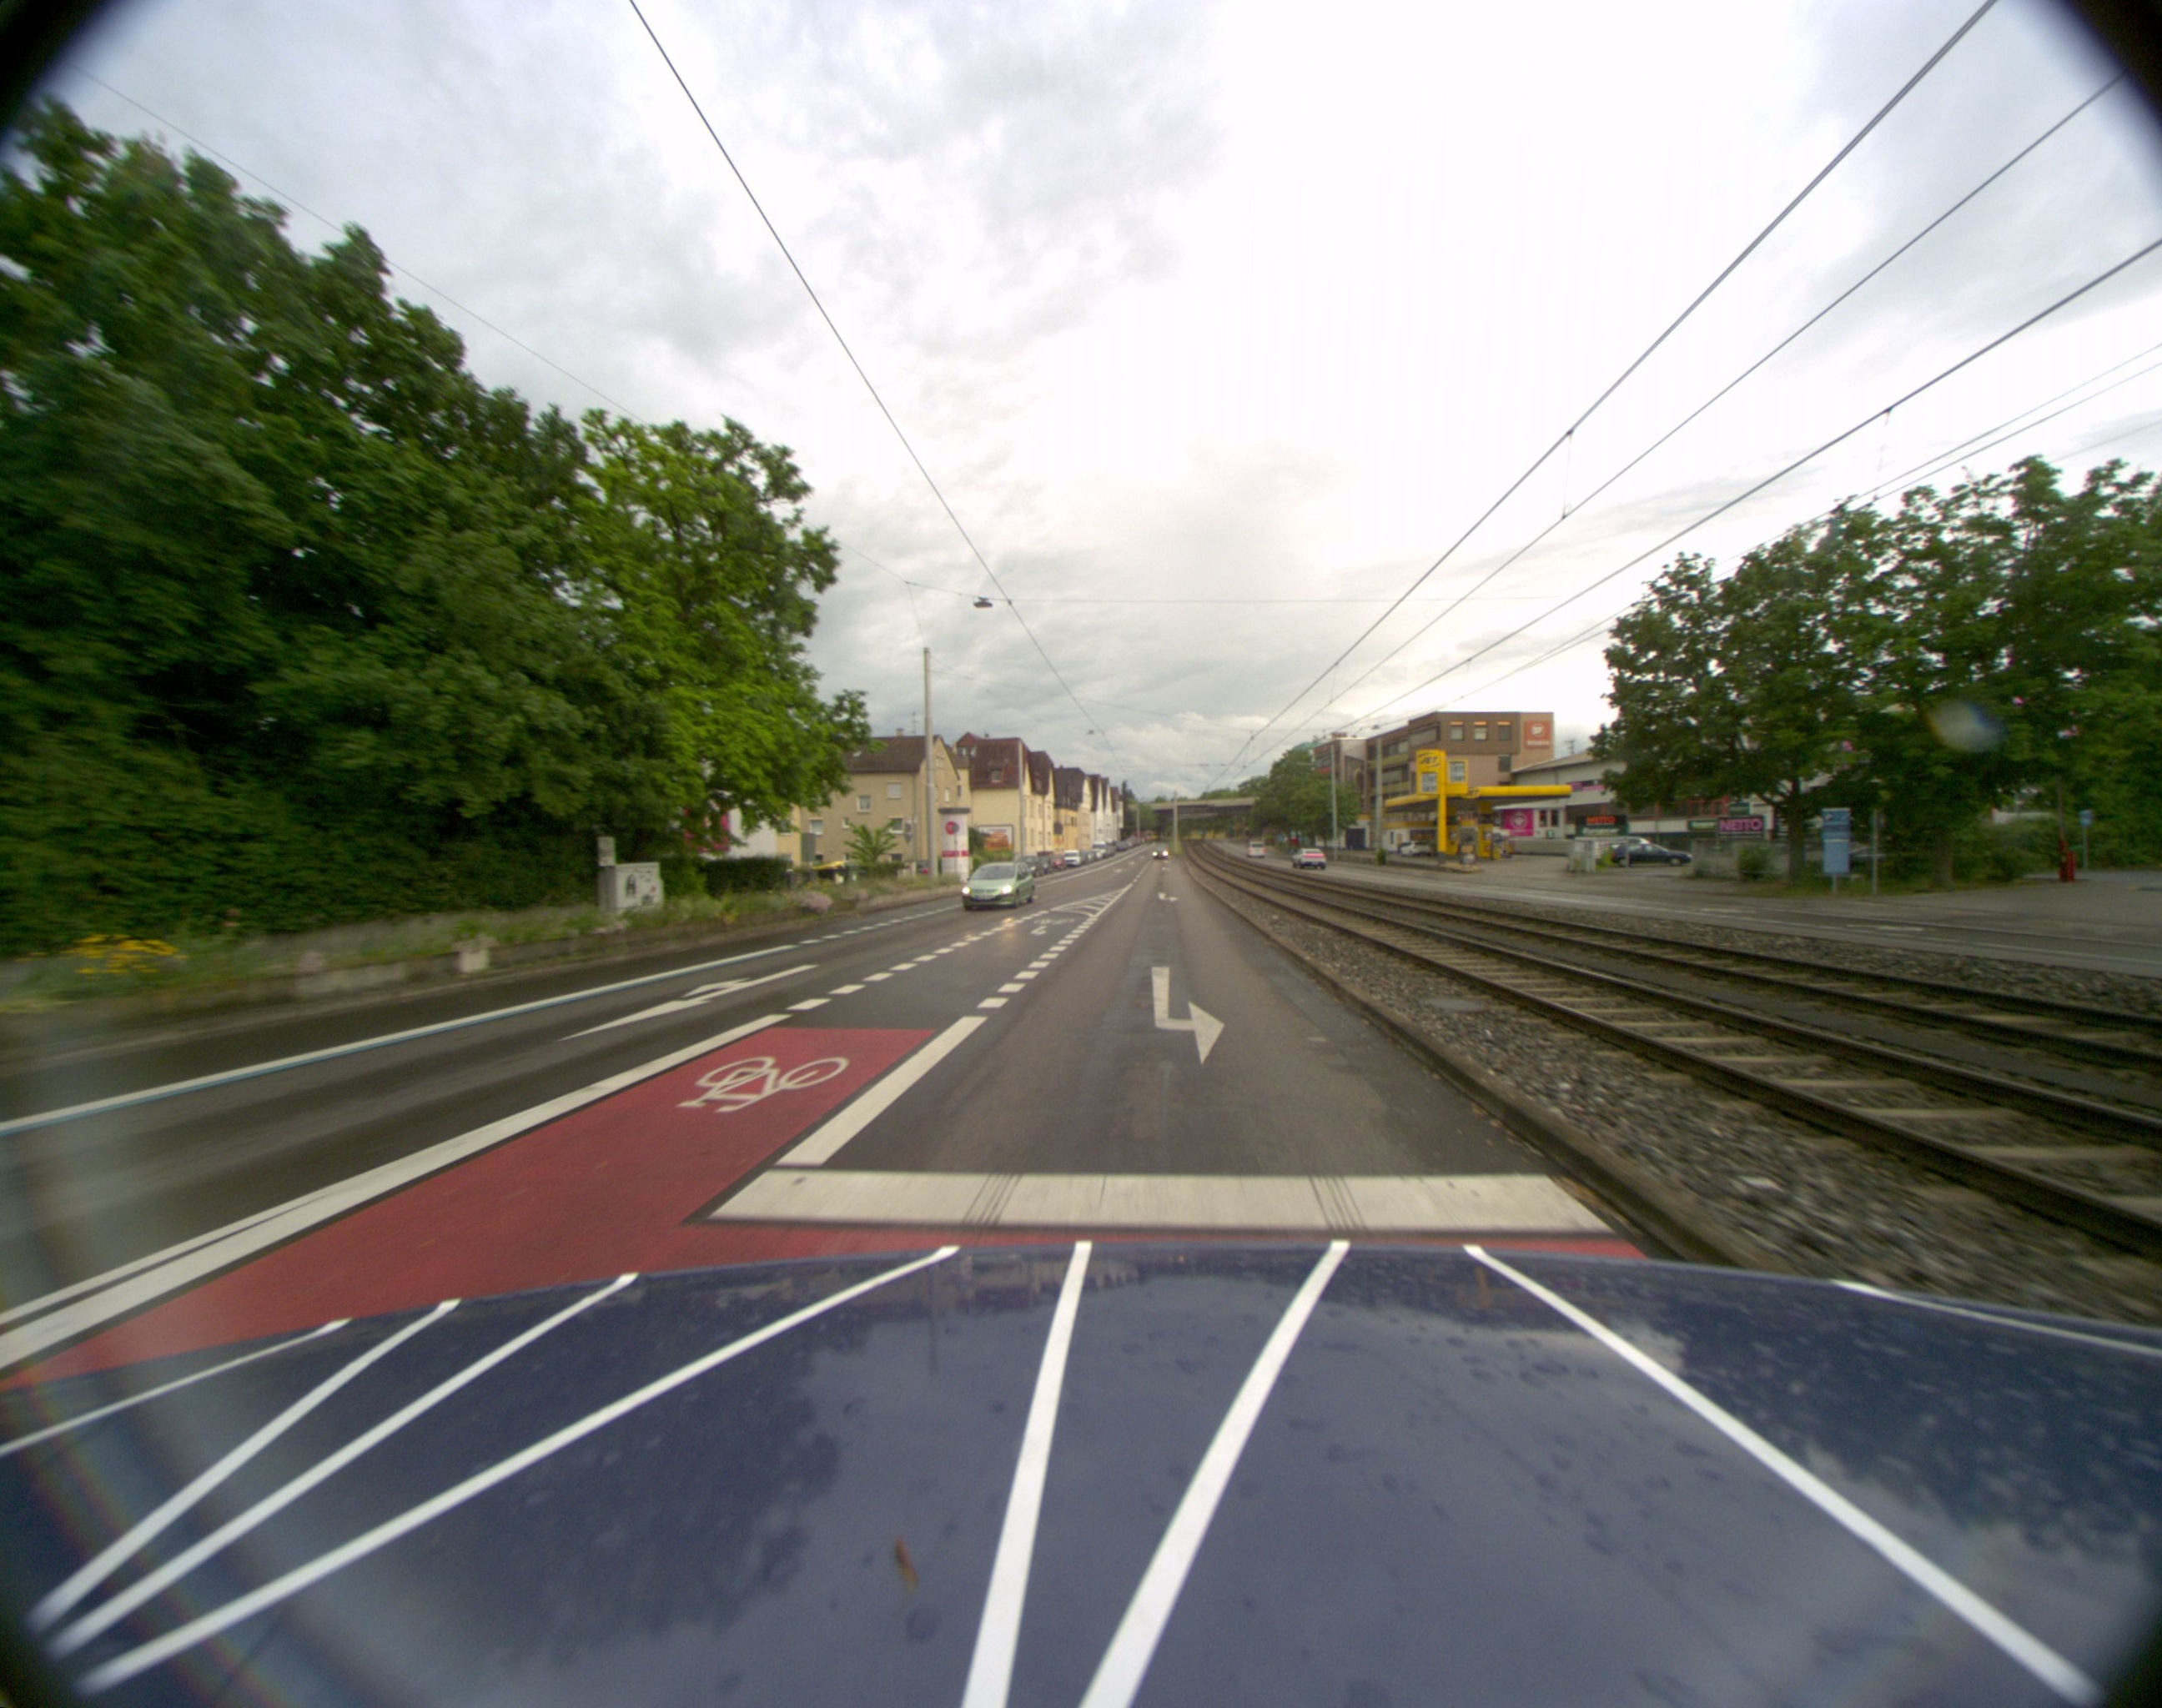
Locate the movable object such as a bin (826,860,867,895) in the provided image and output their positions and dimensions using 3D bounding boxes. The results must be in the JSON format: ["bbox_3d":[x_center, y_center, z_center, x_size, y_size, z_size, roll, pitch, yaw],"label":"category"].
[{"bbox_3d":[-10.560,1.053,34.278,1.314,1.410,1.300,-2,2,4],"label":"movable object such as a bin"}]

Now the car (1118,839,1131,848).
[{"bbox_3d":[7.933,-1.922,138.195,1.725,1.539,4.202,-2,2,9],"label":"car"}]

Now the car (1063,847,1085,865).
[{"bbox_3d":[-0.683,0.175,80.243,1.851,1.746,4.522,-2,1,5],"label":"car"}]

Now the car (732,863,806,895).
[{"bbox_3d":[-21.641,1.733,52.794,4.283,1.785,1.879,-4,2,6],"label":"car"}]

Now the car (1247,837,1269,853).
[{"bbox_3d":[22.469,-1.167,96.411,1.997,2.002,5.061,2,1,6],"label":"car"}]

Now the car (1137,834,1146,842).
[{"bbox_3d":[14.009,-3.740,176.068,1.725,1.539,4.202,-2,2,9],"label":"car"}]

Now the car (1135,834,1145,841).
[{"bbox_3d":[13.230,-3.683,170.043,1.725,1.539,4.202,-2,2,9],"label":"car"}]

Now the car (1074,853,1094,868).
[{"bbox_3d":[0.364,0.708,87.306,1.690,1.503,4.138,-2,2,8],"label":"car"}]

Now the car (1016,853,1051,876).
[{"bbox_3d":[-3.516,0.734,57.113,1.840,1.525,4.440,-2,1,6],"label":"car"}]

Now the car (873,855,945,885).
[{"bbox_3d":[-11.583,1.087,51.282,4.281,1.646,1.880,-4,2,10],"label":"car"}]

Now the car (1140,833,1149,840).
[{"bbox_3d":[15.145,-4.135,181.741,1.725,1.539,4.202,-2,2,9],"label":"car"}]

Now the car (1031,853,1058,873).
[{"bbox_3d":[-3.027,0.692,63.118,1.670,1.435,3.929,-2,1,5],"label":"car"}]

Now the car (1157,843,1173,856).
[{"bbox_3d":[10.436,-0.540,94.934,1.887,1.417,4.201,-2,2,6],"label":"car"}]

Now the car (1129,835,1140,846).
[{"bbox_3d":[10.888,-2.759,154.468,1.976,1.984,4.436,-2,2,8],"label":"car"}]

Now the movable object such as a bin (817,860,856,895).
[{"bbox_3d":[-10.557,1.000,32.790,1.187,1.410,1.134,-2,2,4],"label":"movable object such as a bin"}]

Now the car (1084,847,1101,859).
[{"bbox_3d":[1.449,-0.147,96.681,1.604,1.394,3.793,-2,2,8],"label":"car"}]

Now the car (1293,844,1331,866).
[{"bbox_3d":[18.494,0.039,60.970,1.998,1.640,4.761,1,1,5],"label":"car"}]

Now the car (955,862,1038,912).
[{"bbox_3d":[-2.726,1.035,25.637,1.887,1.440,4.202,-1,0,6],"label":"car"}]

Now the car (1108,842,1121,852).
[{"bbox_3d":[5.384,-1.153,120.201,1.726,1.338,4.201,-2,2,6],"label":"car"}]

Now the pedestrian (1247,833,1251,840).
[{"bbox_3d":[36.065,-3.798,163.495,0.746,1.636,1.021,-1,2,7],"label":"pedestrian"}]

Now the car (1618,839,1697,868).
[{"bbox_3d":[34.491,-0.032,45.466,3.590,1.580,1.706,-1,3,43],"label":"car"}]

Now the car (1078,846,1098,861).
[{"bbox_3d":[0.873,-0.127,91.975,1.704,1.557,4.283,-2,2,8],"label":"car"}]

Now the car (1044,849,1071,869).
[{"bbox_3d":[-2.172,0.436,70.445,1.840,1.619,4.100,-2,1,6],"label":"car"}]

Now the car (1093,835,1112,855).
[{"bbox_3d":[3.060,-1.277,107.040,2.044,2.485,5.922,-2,2,7],"label":"car"}]

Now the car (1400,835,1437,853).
[{"bbox_3d":[30.787,-0.937,69.380,1.774,1.408,4.075,-2,2,4],"label":"car"}]

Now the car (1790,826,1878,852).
[{"bbox_3d":[49.850,-0.983,50.370,4.097,1.640,1.851,1,1,-4],"label":"car"}]
